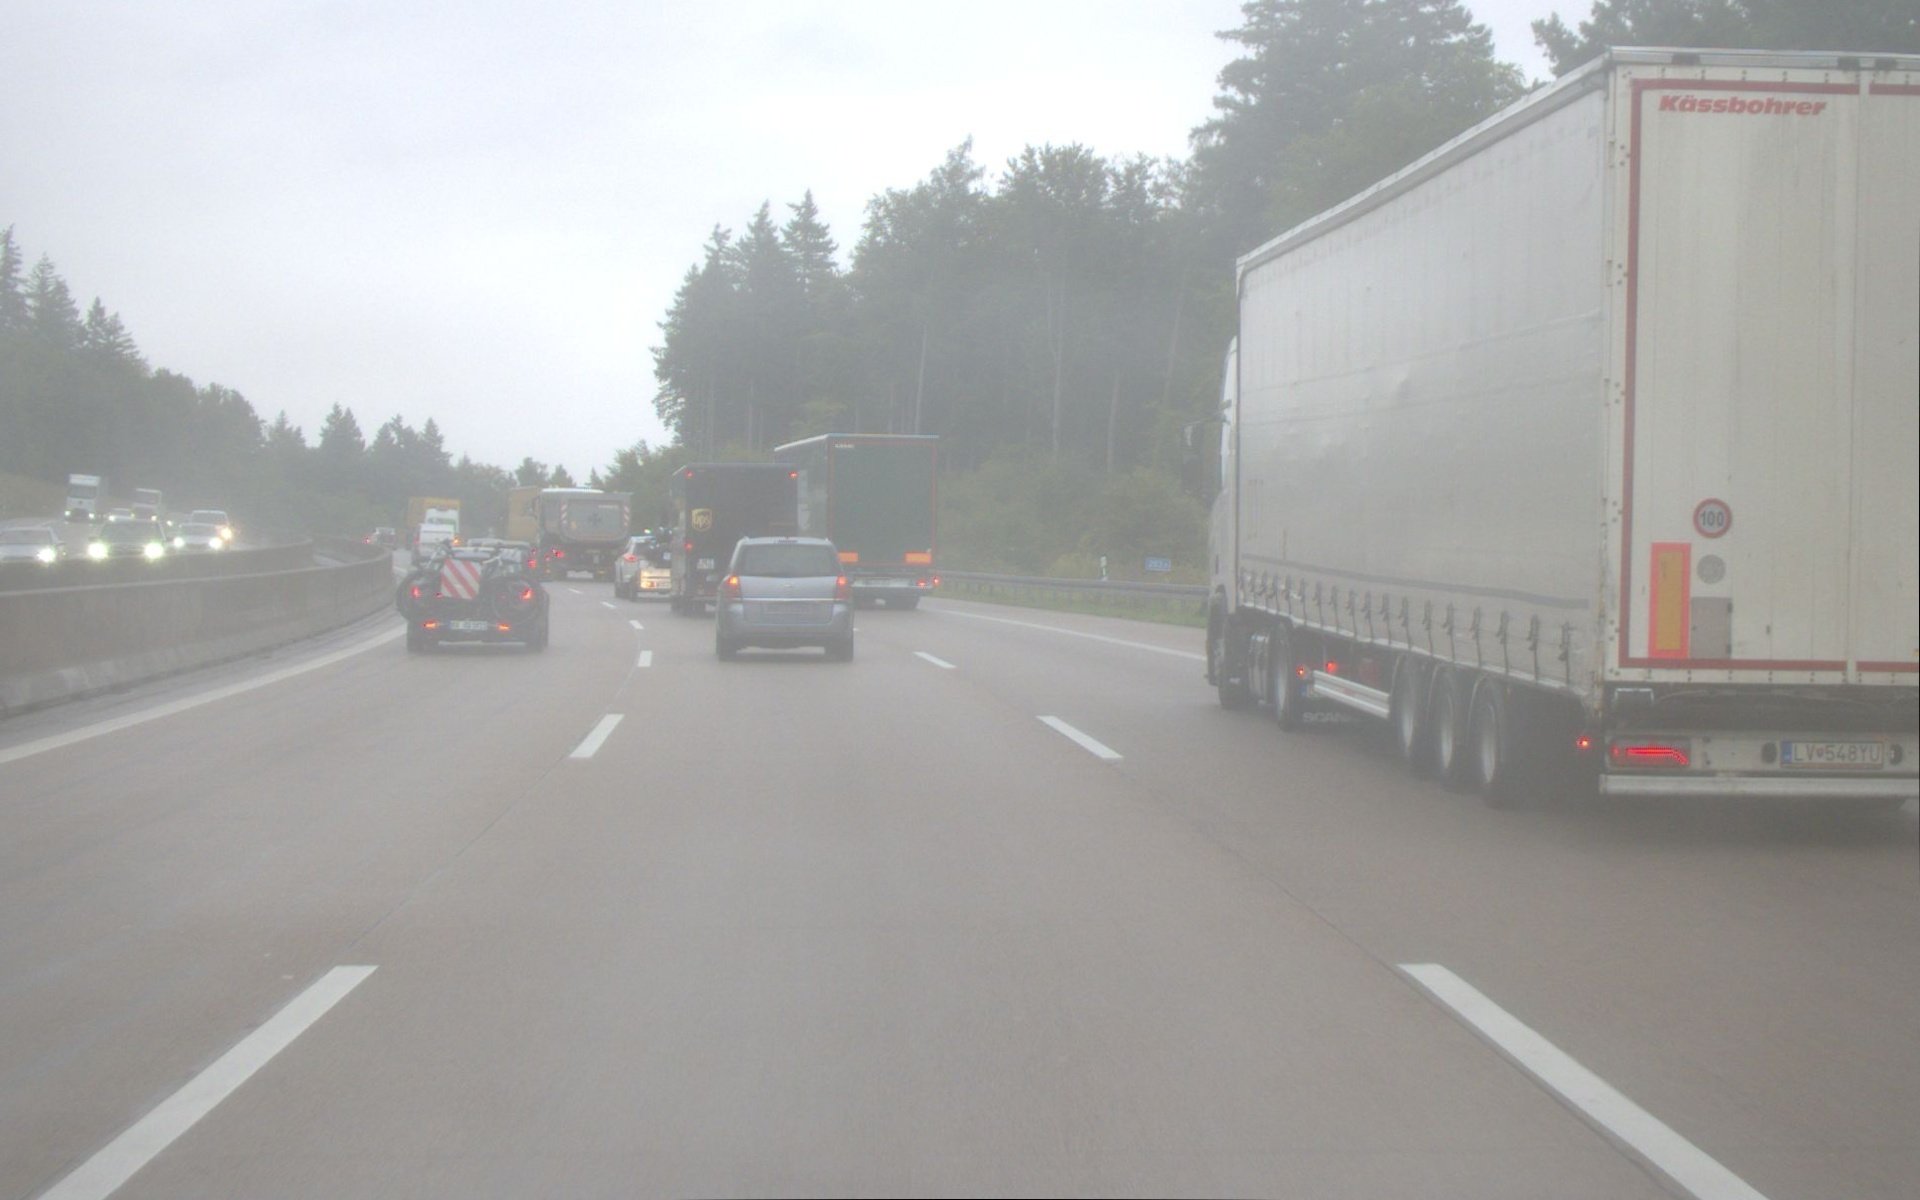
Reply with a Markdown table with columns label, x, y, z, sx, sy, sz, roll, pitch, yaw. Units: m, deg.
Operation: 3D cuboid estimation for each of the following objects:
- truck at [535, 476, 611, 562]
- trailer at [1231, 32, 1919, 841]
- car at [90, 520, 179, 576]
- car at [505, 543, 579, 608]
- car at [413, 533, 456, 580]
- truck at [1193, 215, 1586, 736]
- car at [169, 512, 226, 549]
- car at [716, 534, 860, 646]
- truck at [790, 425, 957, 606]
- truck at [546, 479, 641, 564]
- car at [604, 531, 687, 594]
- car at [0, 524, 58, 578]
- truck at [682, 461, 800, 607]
| label | x | y | z | sx | sy | sz | roll | pitch | yaw |
| --- | --- | --- | --- | --- | --- | --- | --- | --- | --- |
| truck | -19.585 | -4.051 | 174.257 | 3.739 | 4.195 | 6.819 | 0 | 0 | -6 |
| trailer | 3.923 | -0.919 | 23.348 | 2.419 | 4.054 | 12.056 | 0 | 1 | -4 |
| car | -20.892 | -1.315 | 87.092 | 1.621 | 1.388 | 4.001 | 0 | 1 | -5 |
| car | -10.060 | -0.601 | 82.875 | 1.683 | 1.457 | 3.684 | 2 | 1 | -6 |
| car | -22.944 | -1.902 | 150.092 | 1.725 | 2.007 | 3.657 | 0 | 0 | -7 |
| truck | 3.529 | -1.011 | 29.360 | 2.419 | 4.054 | 4.979 | 0 | 1 | -4 |
| car | -29.099 | -2.633 | 131.244 | 1.621 | 1.388 | 4.001 | 0 | 1 | -5 |
| car | -2.304 | -0.157 | 45.245 | 1.553 | 1.347 | 3.685 | 2 | 1 | -8 |
| truck | -2.228 | -2.012 | 83.565 | 3.368 | 4.117 | 10.439 | 0 | 1 | -5 |
| truck | -12.985 | -2.789 | 121.323 | 3.082 | 2.895 | 7.905 | 0 | 2 | -8 |
| car | -7.834 | -0.961 | 85.930 | 1.881 | 1.468 | 4.001 | 2 | 1 | -3 |
| car | -24.884 | -1.290 | 90.331 | 1.621 | 1.388 | 4.001 | 0 | 1 | -5 |
| truck | -4.643 | -1.411 | 71.863 | 2.269 | 2.877 | 7.905 | 0 | 2 | -5 |
